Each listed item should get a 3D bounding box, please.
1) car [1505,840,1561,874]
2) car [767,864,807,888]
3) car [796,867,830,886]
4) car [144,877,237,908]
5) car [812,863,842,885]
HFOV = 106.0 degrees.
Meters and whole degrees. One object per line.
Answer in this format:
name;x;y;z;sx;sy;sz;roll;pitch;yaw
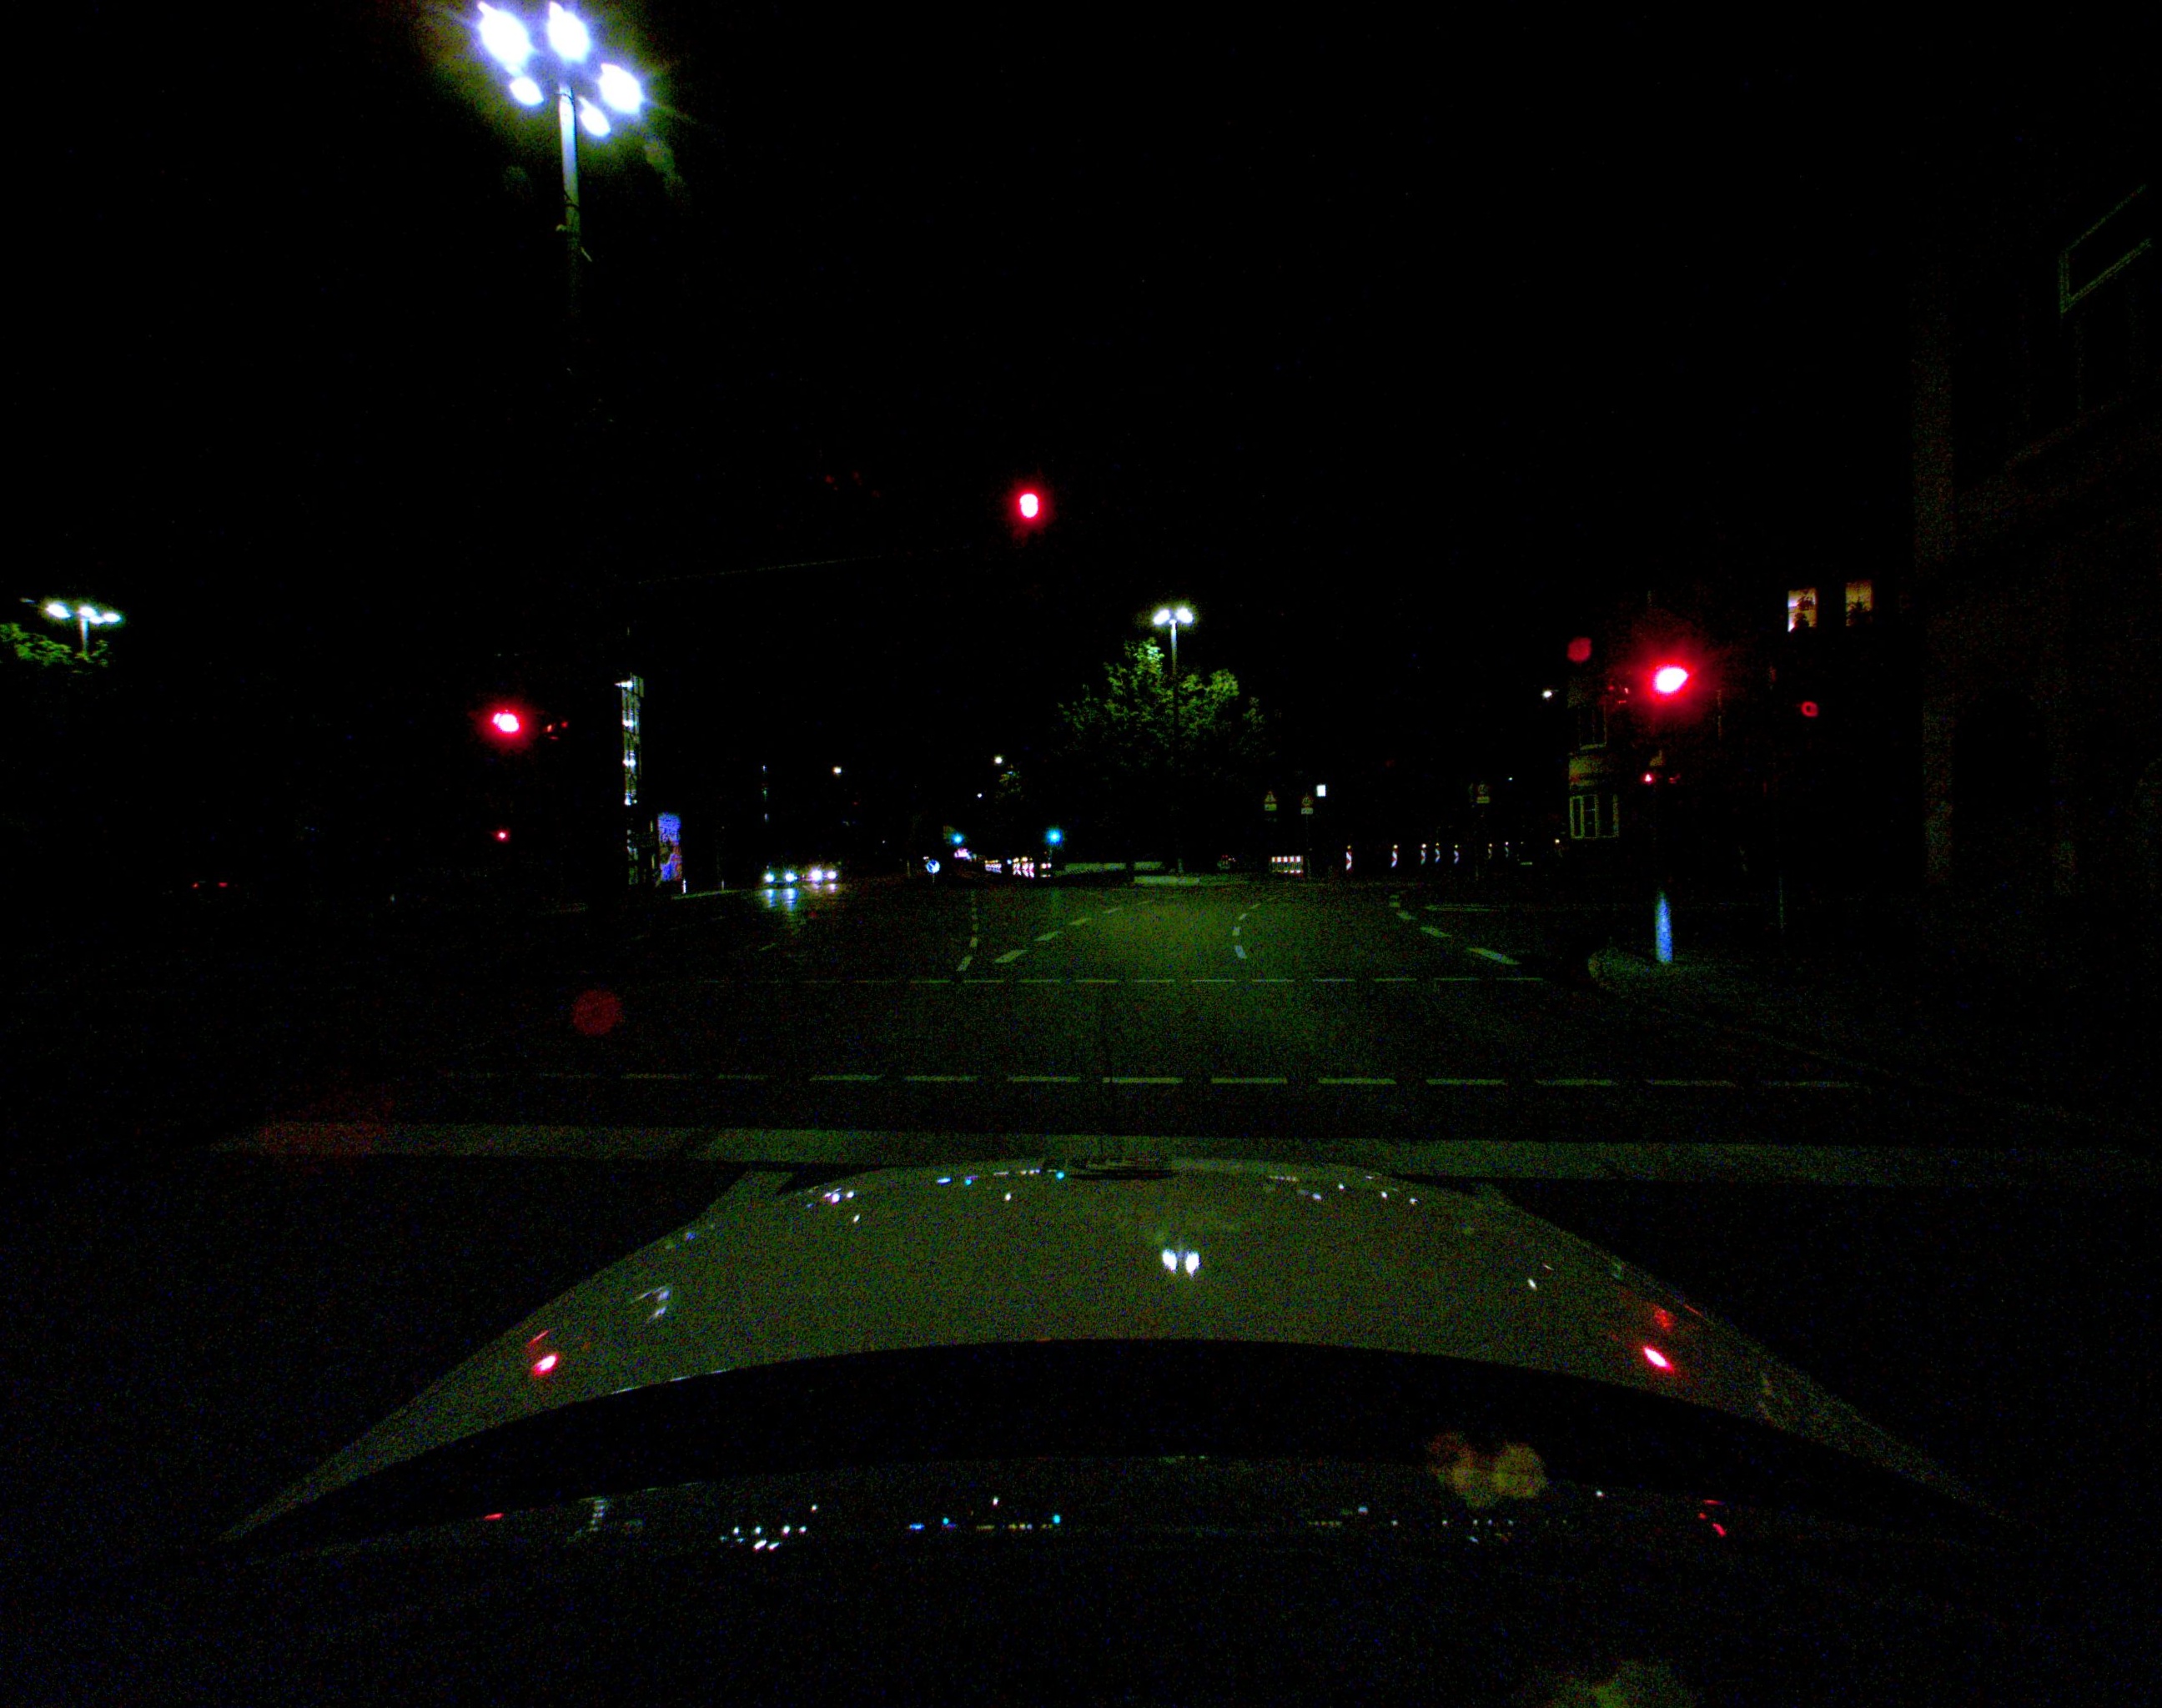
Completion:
car;22.596;0.137;40.664;1.711;1.612;3.646;-2;-1;41
car;-19.822;1.461;55.019;1.614;1.515;3.990;-2;-1;-7
car;-20.458;1.691;62.311;1.756;1.322;3.538;-2;-1;-7
car;-47.846;2.071;43.763;3.957;1.491;1.716;-2;-1;15
car;-21.530;1.677;69.066;1.756;1.728;3.538;-2;-1;-7
